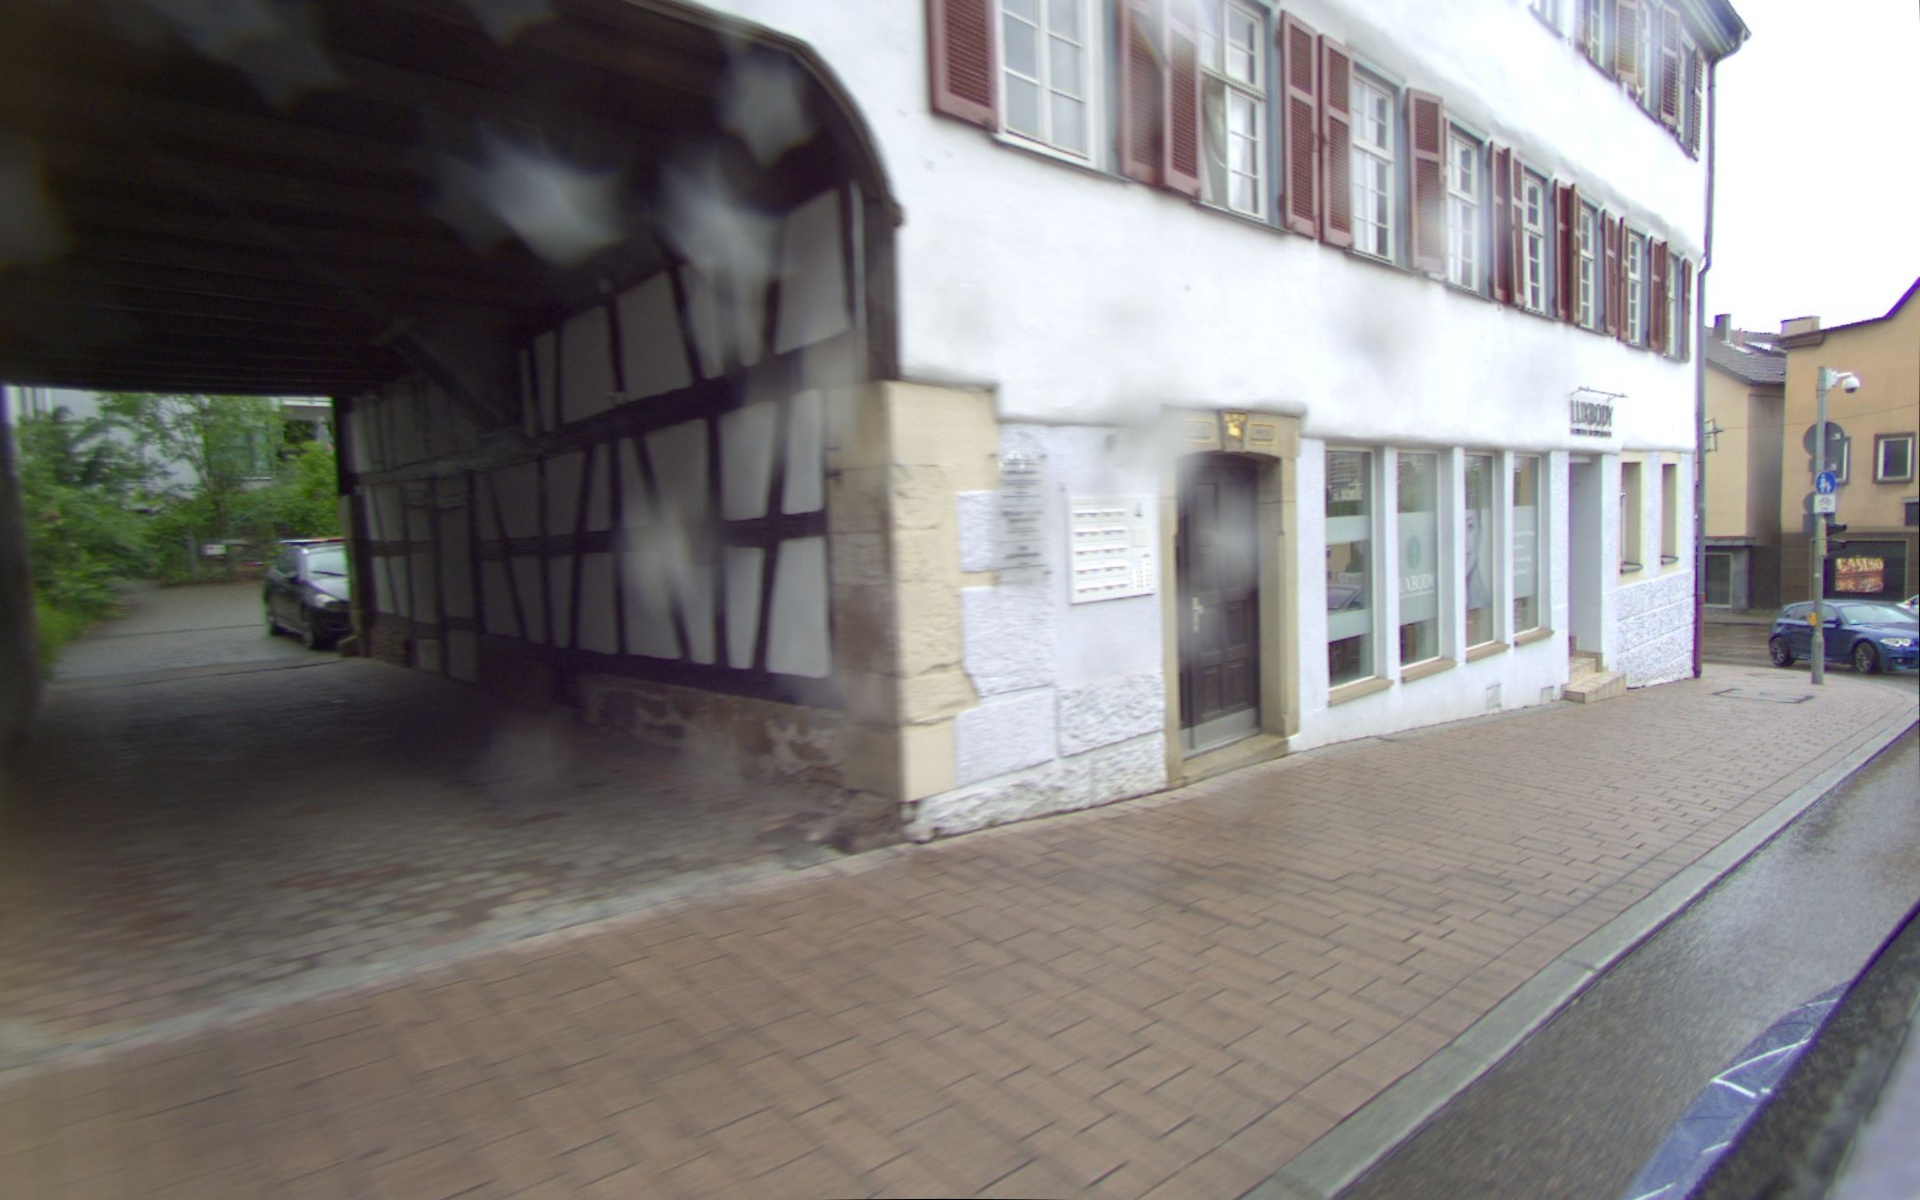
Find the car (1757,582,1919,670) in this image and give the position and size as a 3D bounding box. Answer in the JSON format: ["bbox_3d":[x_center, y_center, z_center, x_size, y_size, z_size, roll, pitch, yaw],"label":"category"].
[{"bbox_3d":[18.767,0.490,20.714,1.937,1.627,4.370,2,1,10],"label":"car"}]

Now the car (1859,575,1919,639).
[{"bbox_3d":[26.033,0.255,25.967,1.932,1.627,4.384,1,3,1],"label":"car"}]

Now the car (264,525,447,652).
[{"bbox_3d":[-9.647,-0.249,16.002,1.795,1.748,3.994,0,3,-41],"label":"car"}]
